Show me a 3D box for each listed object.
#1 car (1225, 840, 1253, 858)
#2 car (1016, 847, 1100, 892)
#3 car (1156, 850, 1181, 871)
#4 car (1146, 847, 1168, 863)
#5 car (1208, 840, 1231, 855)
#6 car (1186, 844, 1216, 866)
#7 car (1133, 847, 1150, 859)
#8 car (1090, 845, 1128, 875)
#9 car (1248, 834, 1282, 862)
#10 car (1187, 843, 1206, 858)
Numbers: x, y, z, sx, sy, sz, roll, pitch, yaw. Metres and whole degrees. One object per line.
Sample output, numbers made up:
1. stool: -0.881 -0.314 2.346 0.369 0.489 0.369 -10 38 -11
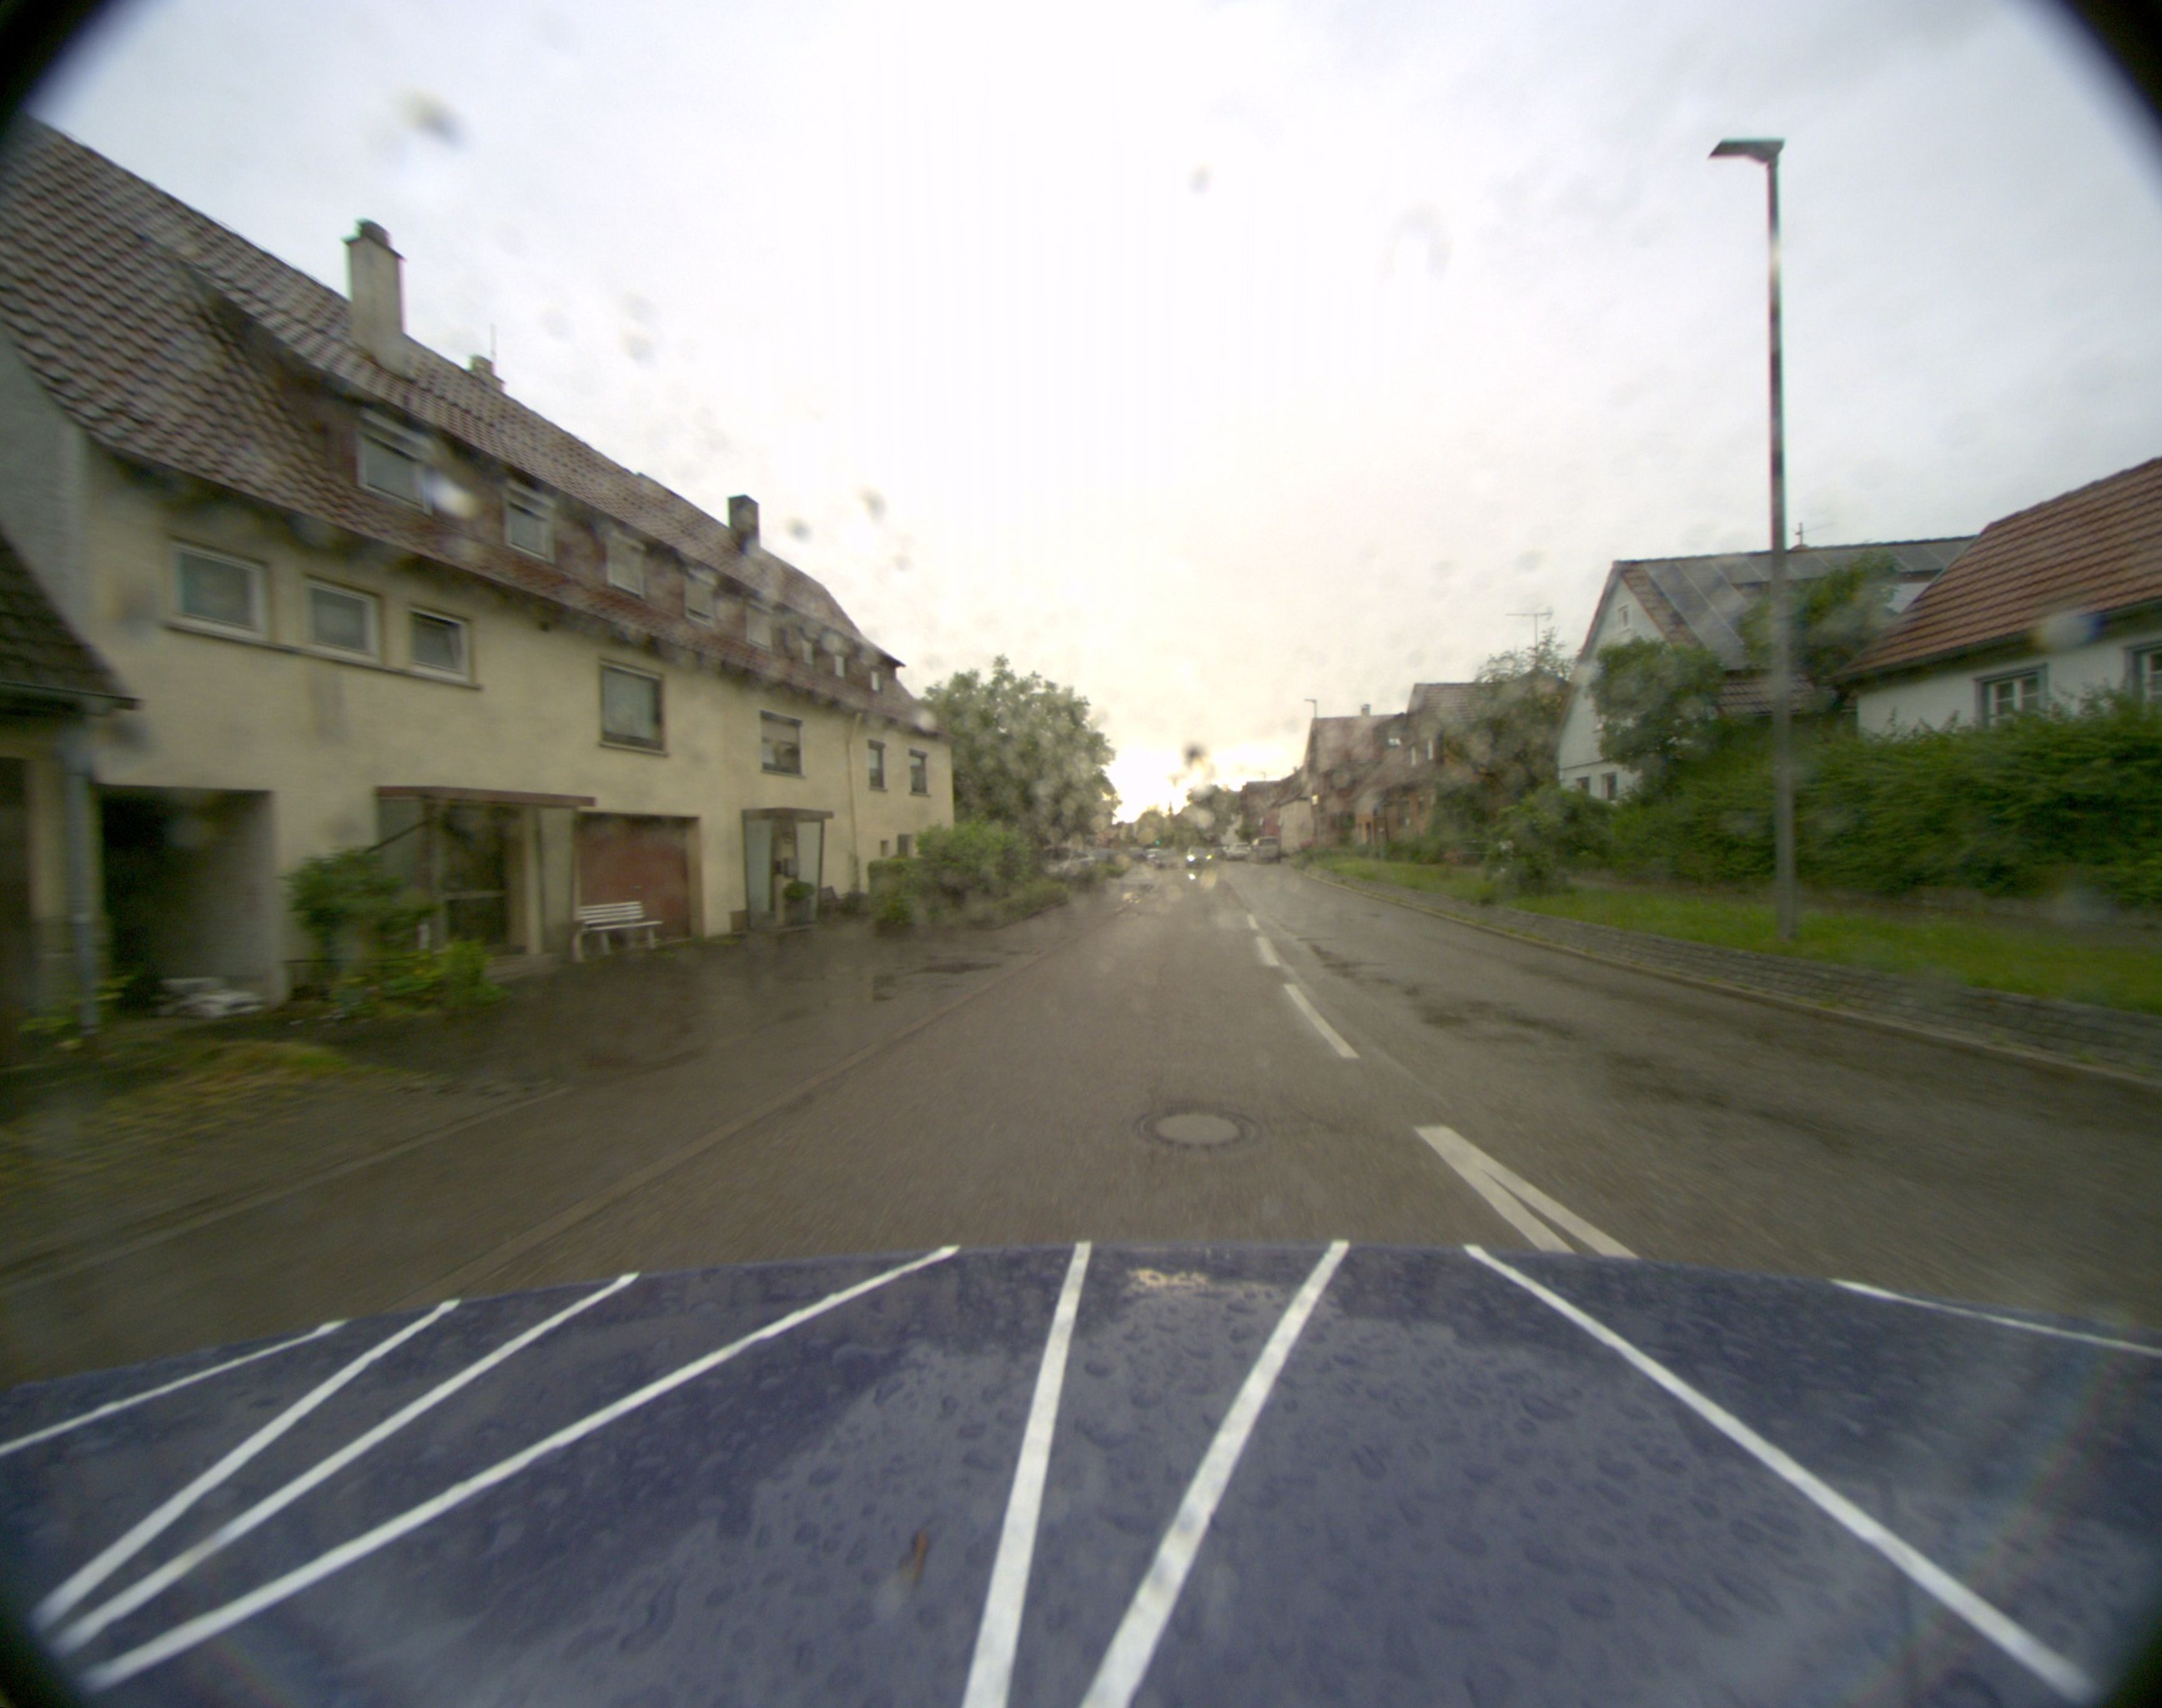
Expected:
1. car: 14.992 -0.482 72.337 1.812 1.612 3.999 -3 1 0
2. car: -0.910 0.620 32.757 1.909 1.701 4.485 -2 1 22
3. car: 6.809 0.459 59.175 1.787 1.455 4.001 -2 1 5
4. car: 7.559 0.076 75.534 1.998 1.521 4.001 -3 0 5
5. car: 15.868 -0.704 87.084 1.812 1.612 3.999 -3 1 0
6. car: 9.204 0.070 58.587 1.998 1.521 4.002 -4 0 7
7. car: 7.951 -0.154 100.499 1.998 1.521 4.000 -4 0 2
8. car: 1.761 0.352 46.073 1.998 1.644 4.071 -2 1 6
9. car: 13.970 -0.458 57.941 1.845 1.912 4.191 -4 0 5
10. car: 13.293 -0.413 87.716 1.811 1.565 4.001 -2 1 5
